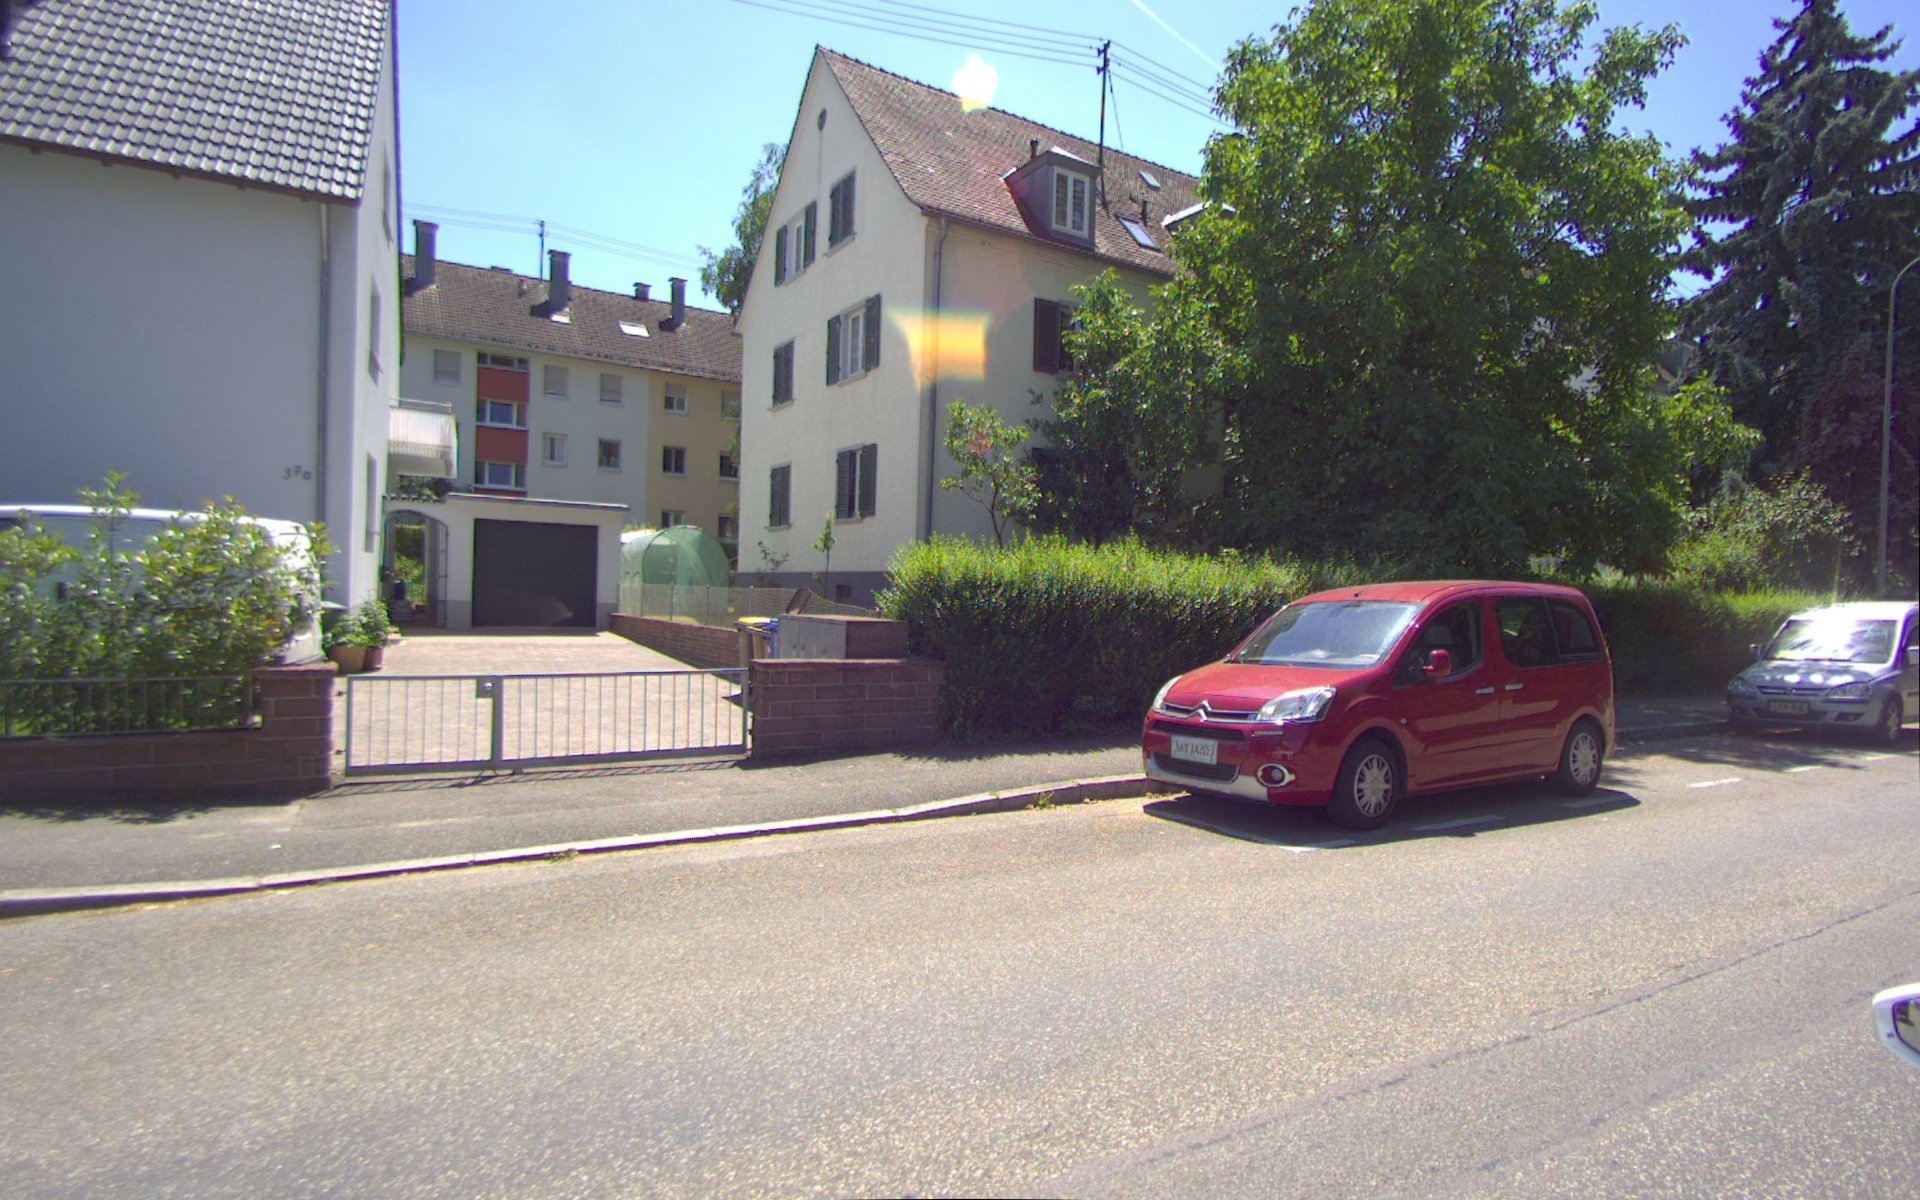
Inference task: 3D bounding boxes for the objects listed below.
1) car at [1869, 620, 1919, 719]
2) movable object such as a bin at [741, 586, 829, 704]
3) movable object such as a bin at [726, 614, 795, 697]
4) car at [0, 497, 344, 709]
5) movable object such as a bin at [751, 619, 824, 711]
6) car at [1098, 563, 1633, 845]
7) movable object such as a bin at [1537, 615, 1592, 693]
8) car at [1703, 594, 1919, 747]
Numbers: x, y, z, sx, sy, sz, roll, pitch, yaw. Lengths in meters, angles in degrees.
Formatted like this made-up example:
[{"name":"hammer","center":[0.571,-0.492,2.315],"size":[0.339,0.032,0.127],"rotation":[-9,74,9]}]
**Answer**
[{"name":"car","center":[16.037,1.089,16.087],"size":[2.807,1.523,1.405],"rotation":[1,-2,-30]},{"name":"movable object such as a bin","center":[-2.104,0.527,12.042],"size":[0.847,1.340,0.600],"rotation":[1,3,-30]},{"name":"movable object such as a bin","center":[-2.498,0.678,12.554],"size":[0.668,0.959,0.600],"rotation":[1,3,-29]},{"name":"car","center":[-8.546,0.006,9.869],"size":[3.941,1.895,1.711],"rotation":[2,2,-21]},{"name":"movable object such as a bin","center":[-1.967,0.727,11.421],"size":[0.632,0.959,0.600],"rotation":[1,3,-29]},{"name":"car","center":[3.393,0.694,8.143],"size":[4.407,1.750,1.749],"rotation":[1,-1,-31]},{"name":"movable object such as a bin","center":[10.493,0.920,17.441],"size":[0.718,1.312,0.609],"rotation":[1,0,-40]},{"name":"car","center":[11.932,0.863,13.447],"size":[4.303,1.775,1.640],"rotation":[1,-1,-30]}]
